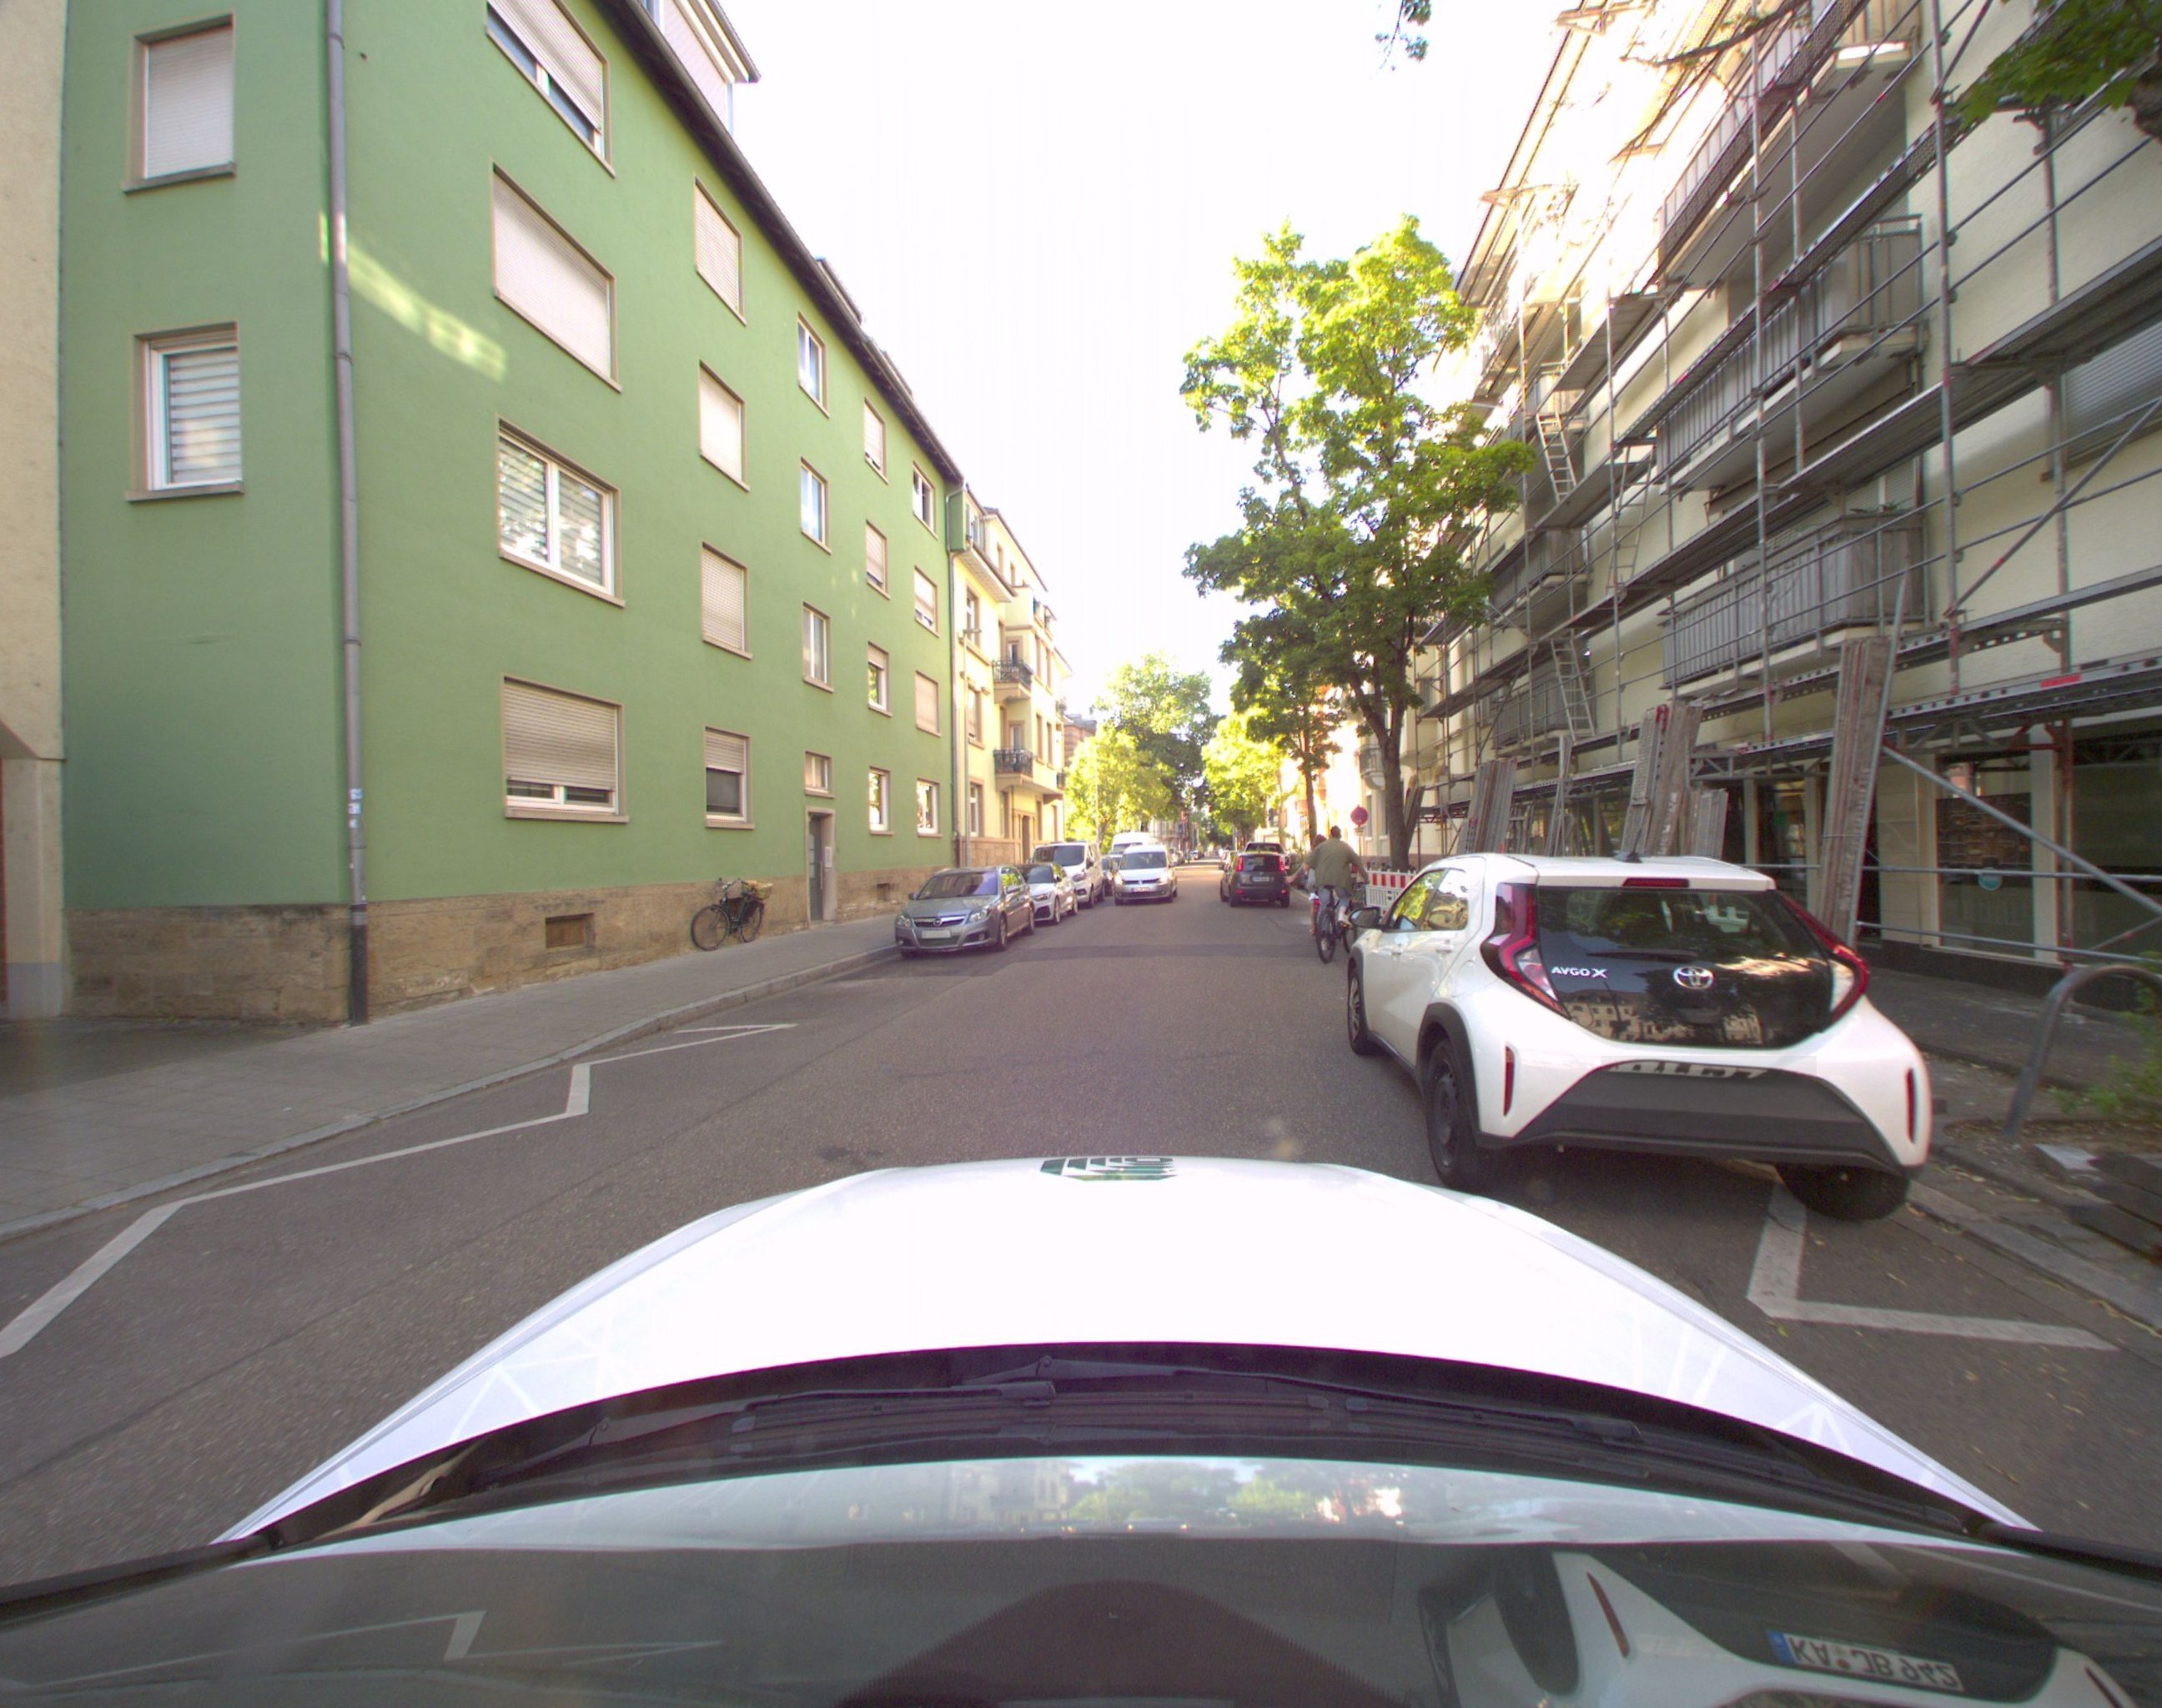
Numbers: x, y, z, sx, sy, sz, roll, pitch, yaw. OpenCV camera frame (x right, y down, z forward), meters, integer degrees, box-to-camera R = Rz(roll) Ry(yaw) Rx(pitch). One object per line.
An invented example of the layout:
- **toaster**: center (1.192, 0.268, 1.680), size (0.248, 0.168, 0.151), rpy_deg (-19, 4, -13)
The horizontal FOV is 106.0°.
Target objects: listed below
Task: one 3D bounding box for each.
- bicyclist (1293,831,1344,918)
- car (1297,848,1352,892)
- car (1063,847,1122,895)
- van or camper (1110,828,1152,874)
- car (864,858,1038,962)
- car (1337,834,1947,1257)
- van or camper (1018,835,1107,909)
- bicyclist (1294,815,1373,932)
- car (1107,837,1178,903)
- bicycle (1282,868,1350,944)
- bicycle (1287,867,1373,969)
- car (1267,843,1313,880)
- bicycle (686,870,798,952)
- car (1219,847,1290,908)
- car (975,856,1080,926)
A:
- **bicyclist**: center (3.956, 0.360, 13.553), size (0.617, 1.381, 0.873), rpy_deg (-3, -5, 26)
- **car**: center (8.669, 0.532, 29.192), size (1.547, 1.409, 3.391), rpy_deg (1, 1, 11)
- **car**: center (0.508, 0.608, 31.531), size (1.700, 1.684, 4.010), rpy_deg (-1, 0, 9)
- **van or camper**: center (3.030, -0.209, 48.240), size (1.982, 2.553, 5.034), rpy_deg (-1, 0, 8)
- **car**: center (-2.137, 0.884, 14.695), size (1.968, 1.455, 4.121), rpy_deg (-4, 0, 6)
- **car**: center (2.640, 0.699, 4.815), size (1.665, 1.545, 3.412), rpy_deg (1, 0, 9)
- **van or camper**: center (-0.451, 0.500, 25.463), size (1.983, 2.013, 4.921), rpy_deg (-2, 0, 7)
- **bicyclist**: center (3.569, 0.292, 11.496), size (0.873, 1.562, 0.873), rpy_deg (-3, -4, 26)
- **car**: center (2.060, 0.474, 26.190), size (1.771, 1.861, 4.211), rpy_deg (-2, 0, 10)
- **bicycle**: center (3.939, 0.838, 13.521), size (0.832, 1.149, 2.244), rpy_deg (-1, -3, 22)
- **bicycle**: center (3.556, 0.829, 11.474), size (0.831, 1.149, 2.245), rpy_deg (3, 3, 24)
- **car**: center (10.143, 0.336, 39.705), size (1.677, 1.684, 4.009), rpy_deg (-2, 0, 8)
- **bicycle**: center (-5.602, 0.889, 13.640), size (0.547, 1.178, 2.285), rpy_deg (2, 1, 10)
- **car**: center (4.885, 0.608, 23.288), size (1.549, 1.533, 3.492), rpy_deg (1, 1, 5)
- **car**: center (-1.180, 0.829, 19.764), size (1.676, 1.453, 3.720), rpy_deg (-2, 0, 9)
